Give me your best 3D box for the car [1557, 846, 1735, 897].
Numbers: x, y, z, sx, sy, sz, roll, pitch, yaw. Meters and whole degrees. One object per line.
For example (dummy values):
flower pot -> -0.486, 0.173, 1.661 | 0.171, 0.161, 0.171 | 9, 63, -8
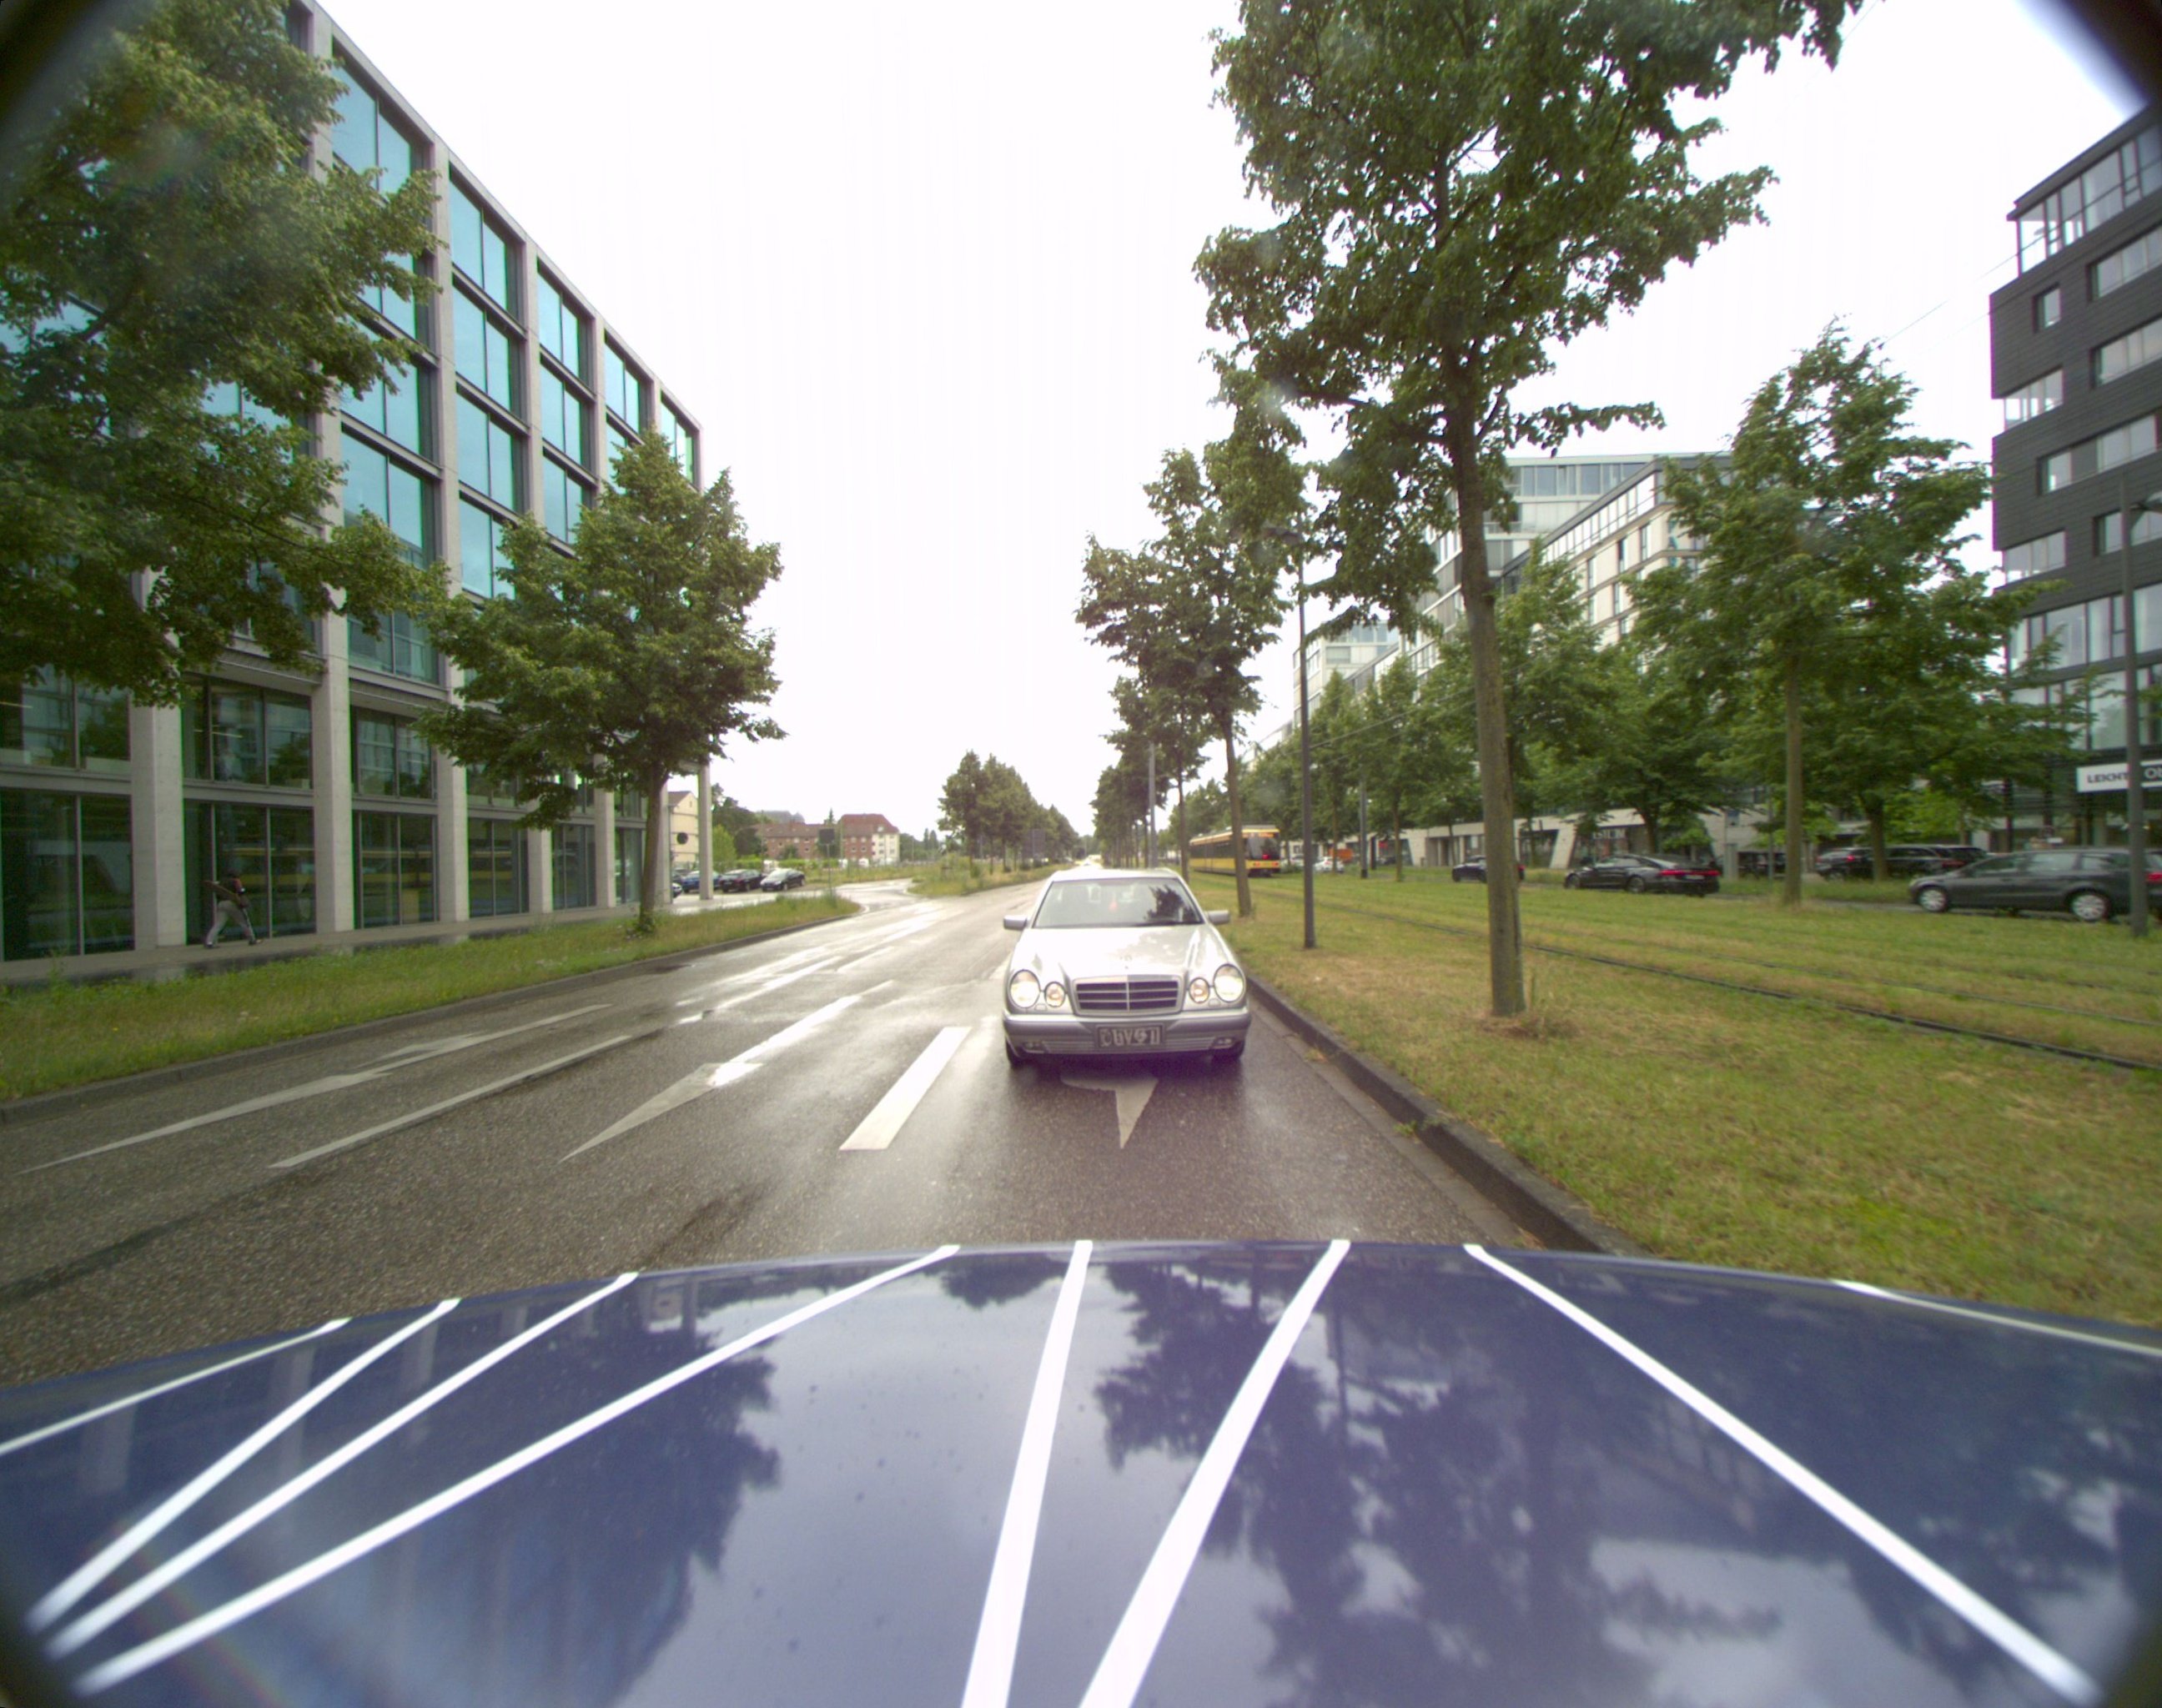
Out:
car -> 17.477, 0.483, 23.901 | 1.998, 1.372, 4.872 | -2, 0, 1

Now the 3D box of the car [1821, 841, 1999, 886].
car -> 29.013, 0.309, 26.813 | 1.706, 1.441, 4.241 | -2, 0, 1

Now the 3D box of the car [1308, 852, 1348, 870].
car -> 21.957, 0.612, 67.713 | 1.998, 1.512, 4.872 | -2, 0, 0

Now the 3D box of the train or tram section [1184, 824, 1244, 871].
train or tram section -> 11.581, -0.506, 67.566 | 3.136, 3.637, 13.407 | -2, 0, 1

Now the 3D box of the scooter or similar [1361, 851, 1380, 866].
scooter or similar -> 37.945, 0.565, 99.585 | 2.130, 1.814, 0.885 | -2, 0, -3

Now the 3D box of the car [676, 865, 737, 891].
car -> -26.305, 1.679, 53.511 | 1.859, 1.447, 4.000 | -1, 3, 7

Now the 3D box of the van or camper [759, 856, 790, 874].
van or camper -> -48.512, 1.703, 120.532 | 2.314, 2.673, 6.396 | -1, 0, -1

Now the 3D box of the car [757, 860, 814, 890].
car -> -20.524, 1.423, 52.902 | 1.858, 1.573, 3.999 | -2, 5, 9

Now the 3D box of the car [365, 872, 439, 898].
car -> -51.056, 2.270, 57.260 | 1.860, 1.488, 4.029 | -2, 4, -1

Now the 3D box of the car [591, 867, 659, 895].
car -> -32.173, 1.867, 53.736 | 1.789, 1.467, 4.229 | -1, 4, 7

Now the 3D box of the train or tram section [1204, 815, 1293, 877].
train or tram section -> 11.303, -0.490, 53.355 | 3.136, 3.637, 15.064 | -2, 0, 1

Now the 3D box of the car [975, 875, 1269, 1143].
car -> 0.273, 1.006, 6.907 | 1.738, 1.451, 4.607 | -2, 0, 1

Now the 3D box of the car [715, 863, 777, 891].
car -> -23.329, 1.585, 53.144 | 1.859, 1.447, 4.555 | -1, 4, 7

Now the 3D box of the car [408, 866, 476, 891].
car -> -52.280, 1.977, 62.240 | 1.699, 1.703, 4.032 | -1, 4, 9

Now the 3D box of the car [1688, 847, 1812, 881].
car -> 29.372, 0.423, 33.559 | 1.998, 1.370, 4.000 | -2, 0, 1

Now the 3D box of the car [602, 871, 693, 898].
car -> -25.160, 1.786, 44.160 | 4.227, 1.429, 1.982 | -1, -2, 6

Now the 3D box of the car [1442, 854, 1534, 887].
car -> 20.490, 0.774, 38.514 | 1.999, 1.512, 4.872 | -2, 0, 0

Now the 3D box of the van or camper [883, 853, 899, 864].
van or camper -> -43.535, 1.043, 174.500 | 2.208, 2.294, 6.148 | -3, 0, -1

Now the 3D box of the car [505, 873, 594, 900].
car -> -31.175, 1.913, 44.614 | 3.995, 1.479, 1.862 | -1, -2, 5

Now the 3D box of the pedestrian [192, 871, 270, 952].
pedestrian -> -18.530, 1.233, 16.587 | 0.718, 1.705, 0.861 | 0, 0, 0

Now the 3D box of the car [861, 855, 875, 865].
car -> -50.070, 1.363, 178.667 | 2.278, 2.207, 4.759 | -2, 0, -2

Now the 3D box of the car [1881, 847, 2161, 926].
car -> 20.378, 0.580, 15.974 | 1.998, 1.372, 4.873 | -2, 0, 1

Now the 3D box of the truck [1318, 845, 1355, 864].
truck -> 31.288, 0.055, 93.251 | 2.432, 2.278, 6.309 | -1, 0, 1

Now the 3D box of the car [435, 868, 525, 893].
car -> -35.700, 1.579, 45.193 | 3.995, 1.364, 1.862 | -1, -1, 6

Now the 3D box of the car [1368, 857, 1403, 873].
car -> 30.110, 1.040, 75.322 | 1.859, 1.456, 3.988 | -1, 0, 1
